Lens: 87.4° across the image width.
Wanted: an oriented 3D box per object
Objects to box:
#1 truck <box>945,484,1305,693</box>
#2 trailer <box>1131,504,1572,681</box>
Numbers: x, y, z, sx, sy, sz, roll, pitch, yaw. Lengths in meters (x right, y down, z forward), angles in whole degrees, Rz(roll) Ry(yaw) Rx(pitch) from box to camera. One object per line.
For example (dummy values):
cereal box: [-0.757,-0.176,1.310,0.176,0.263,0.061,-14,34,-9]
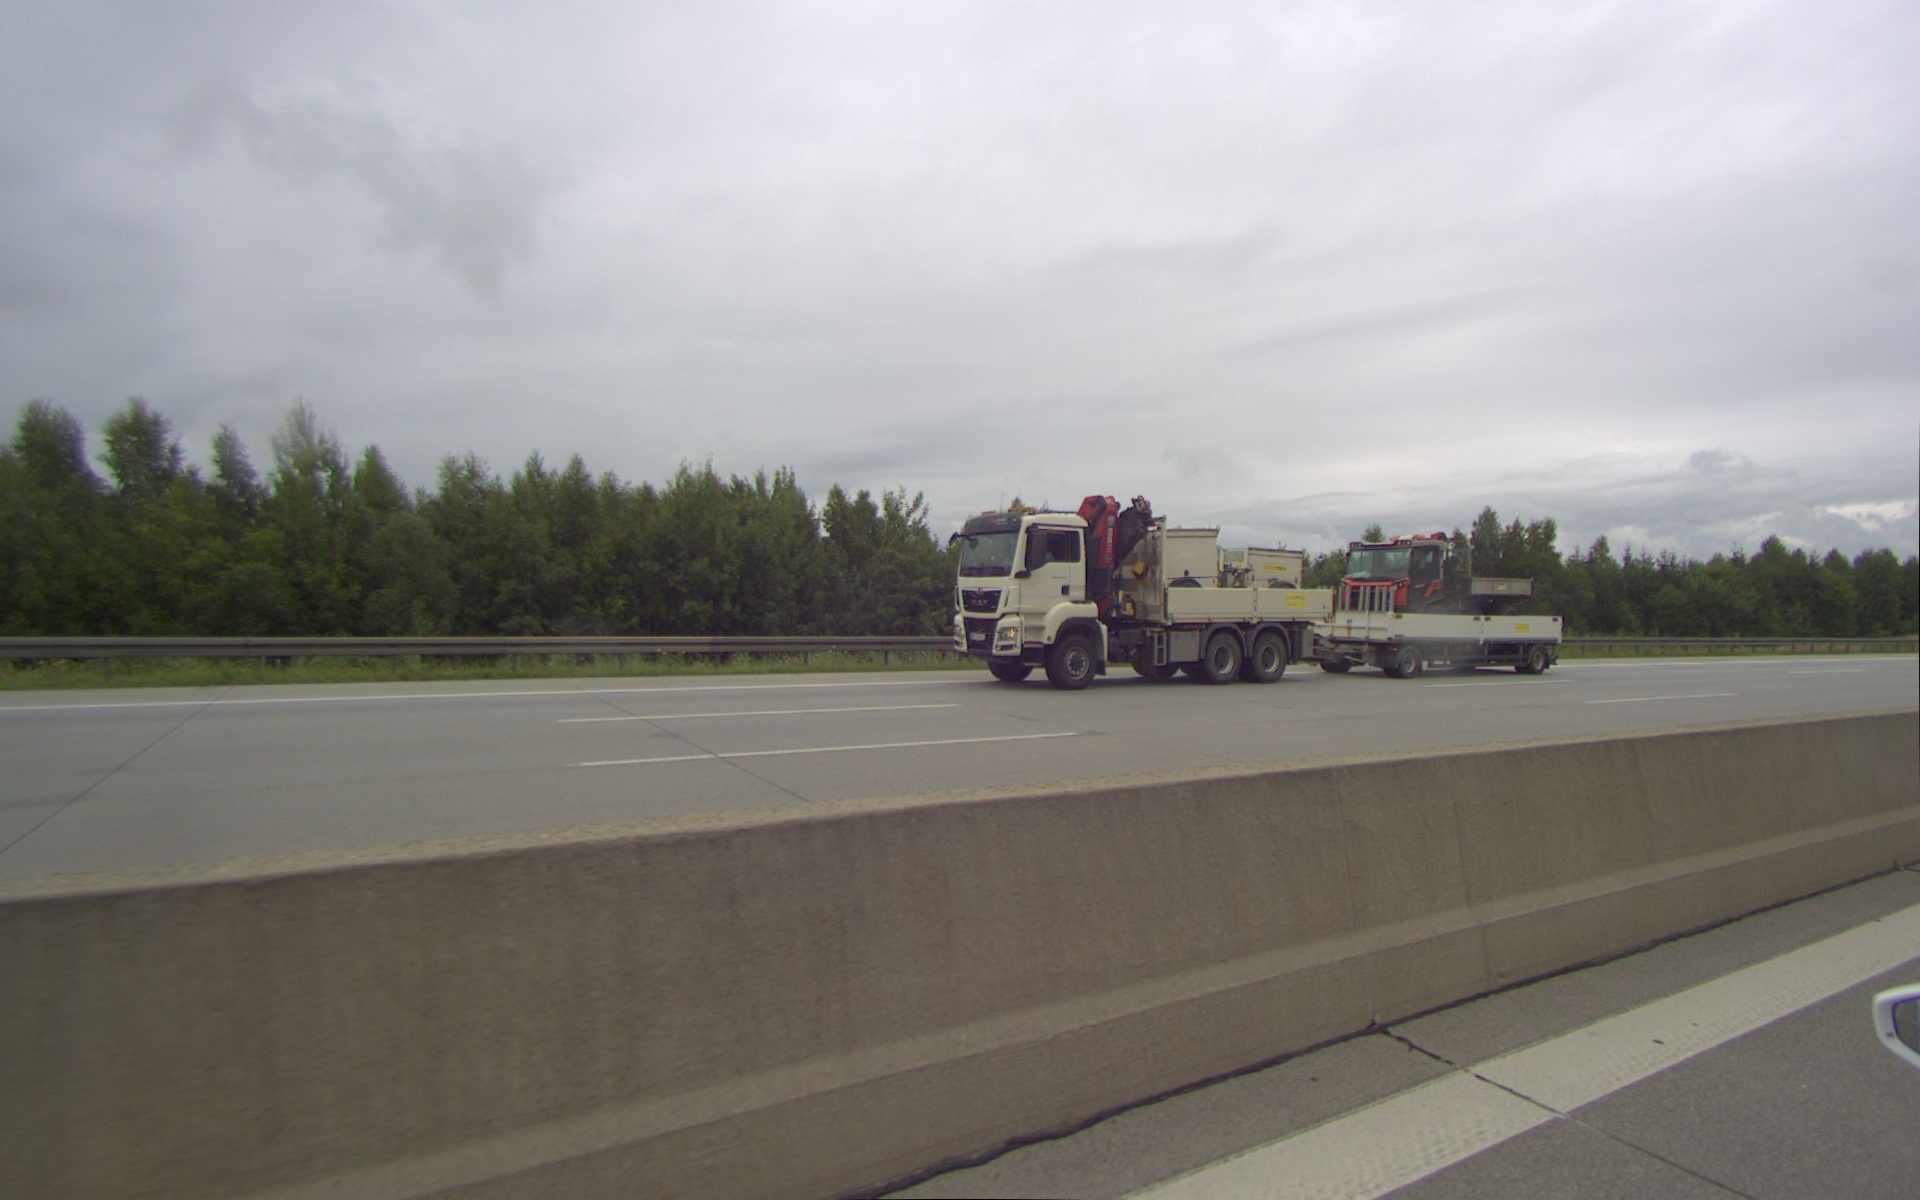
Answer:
truck: [3.601,-0.142,20.949,7.573,3.701,2.573,1,0,-31]
trailer: [10.312,0.026,25.053,13.567,3.589,2.573,2,-1,-31]
